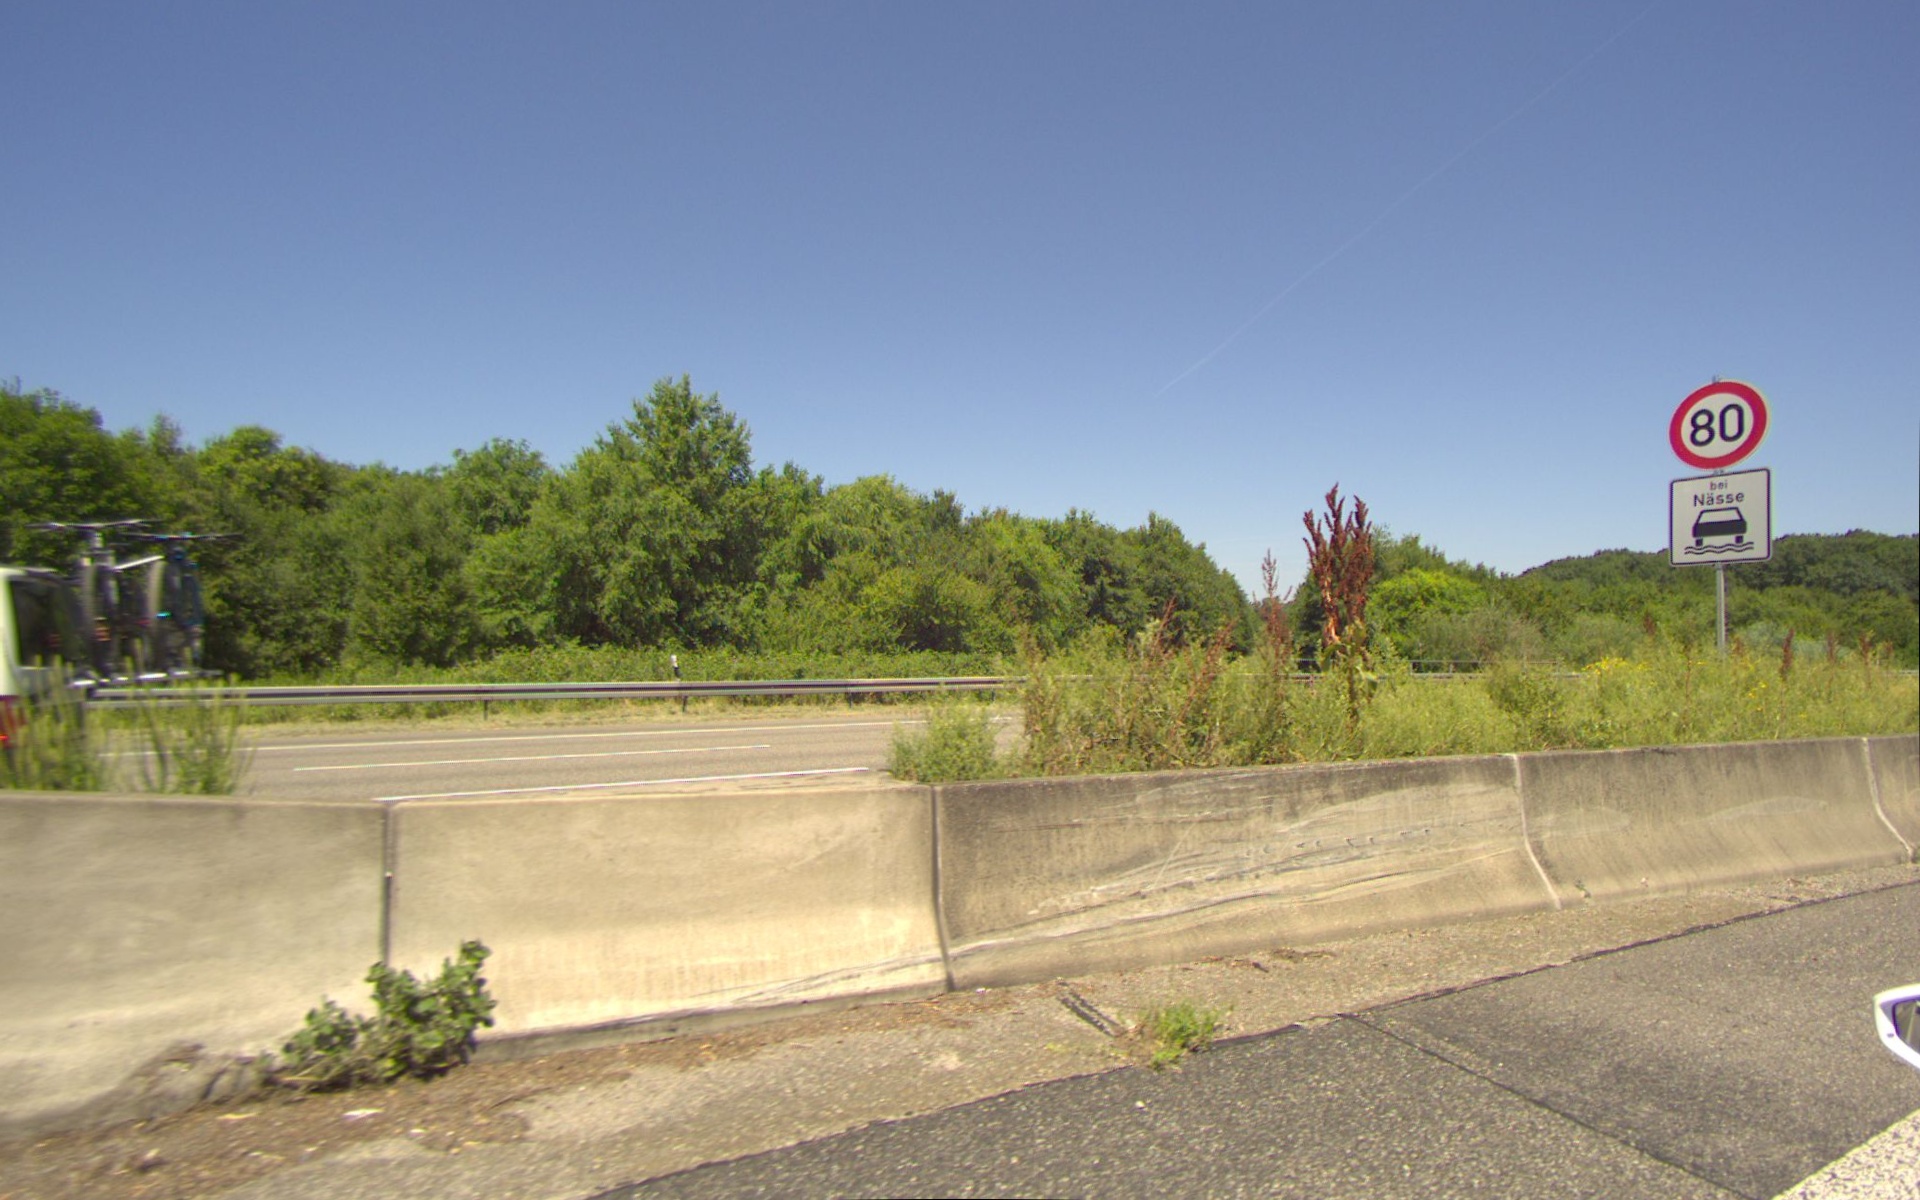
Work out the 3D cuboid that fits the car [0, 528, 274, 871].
[{"bbox_3d":[-7.872,0.588,5.886,6.150,2.039,1.985,2,-5,-31],"label":"car"}]
